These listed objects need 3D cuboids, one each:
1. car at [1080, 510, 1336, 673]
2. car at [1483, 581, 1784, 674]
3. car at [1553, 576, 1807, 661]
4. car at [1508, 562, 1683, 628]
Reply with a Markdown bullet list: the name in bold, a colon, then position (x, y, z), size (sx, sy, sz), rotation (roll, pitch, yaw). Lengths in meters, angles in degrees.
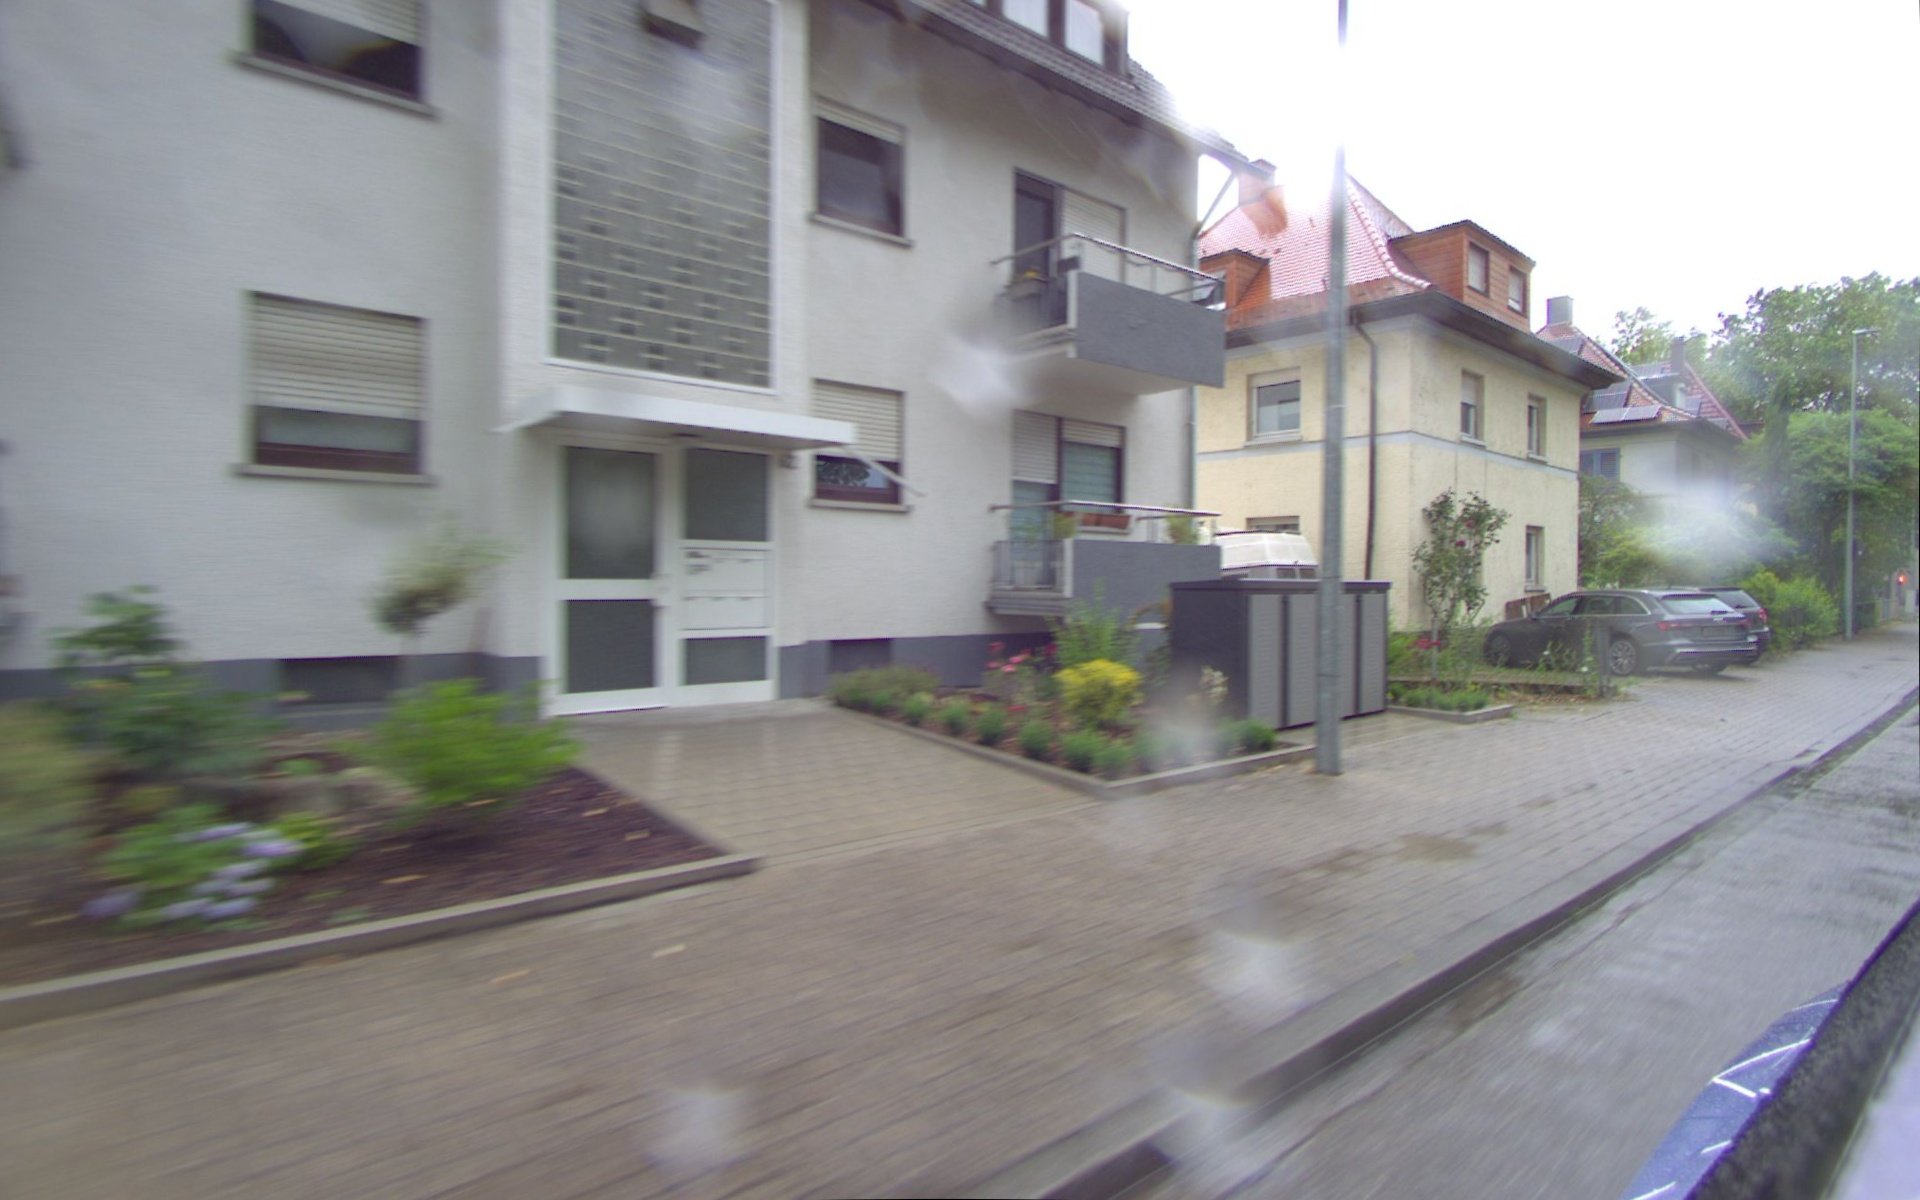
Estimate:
- **car**: position (4.680, -0.101, 19.580), size (1.971, 2.795, 4.466), rotation (4, -3, -41)
- **car**: position (11.359, 0.385, 17.530), size (1.880, 1.381, 4.389), rotation (-1, 1, -8)
- **car**: position (13.756, 0.303, 19.667), size (1.736, 1.475, 4.006), rotation (1, 1, -8)
- **car**: position (19.072, -0.104, 30.524), size (1.788, 1.601, 3.993), rotation (-1, -5, -39)
